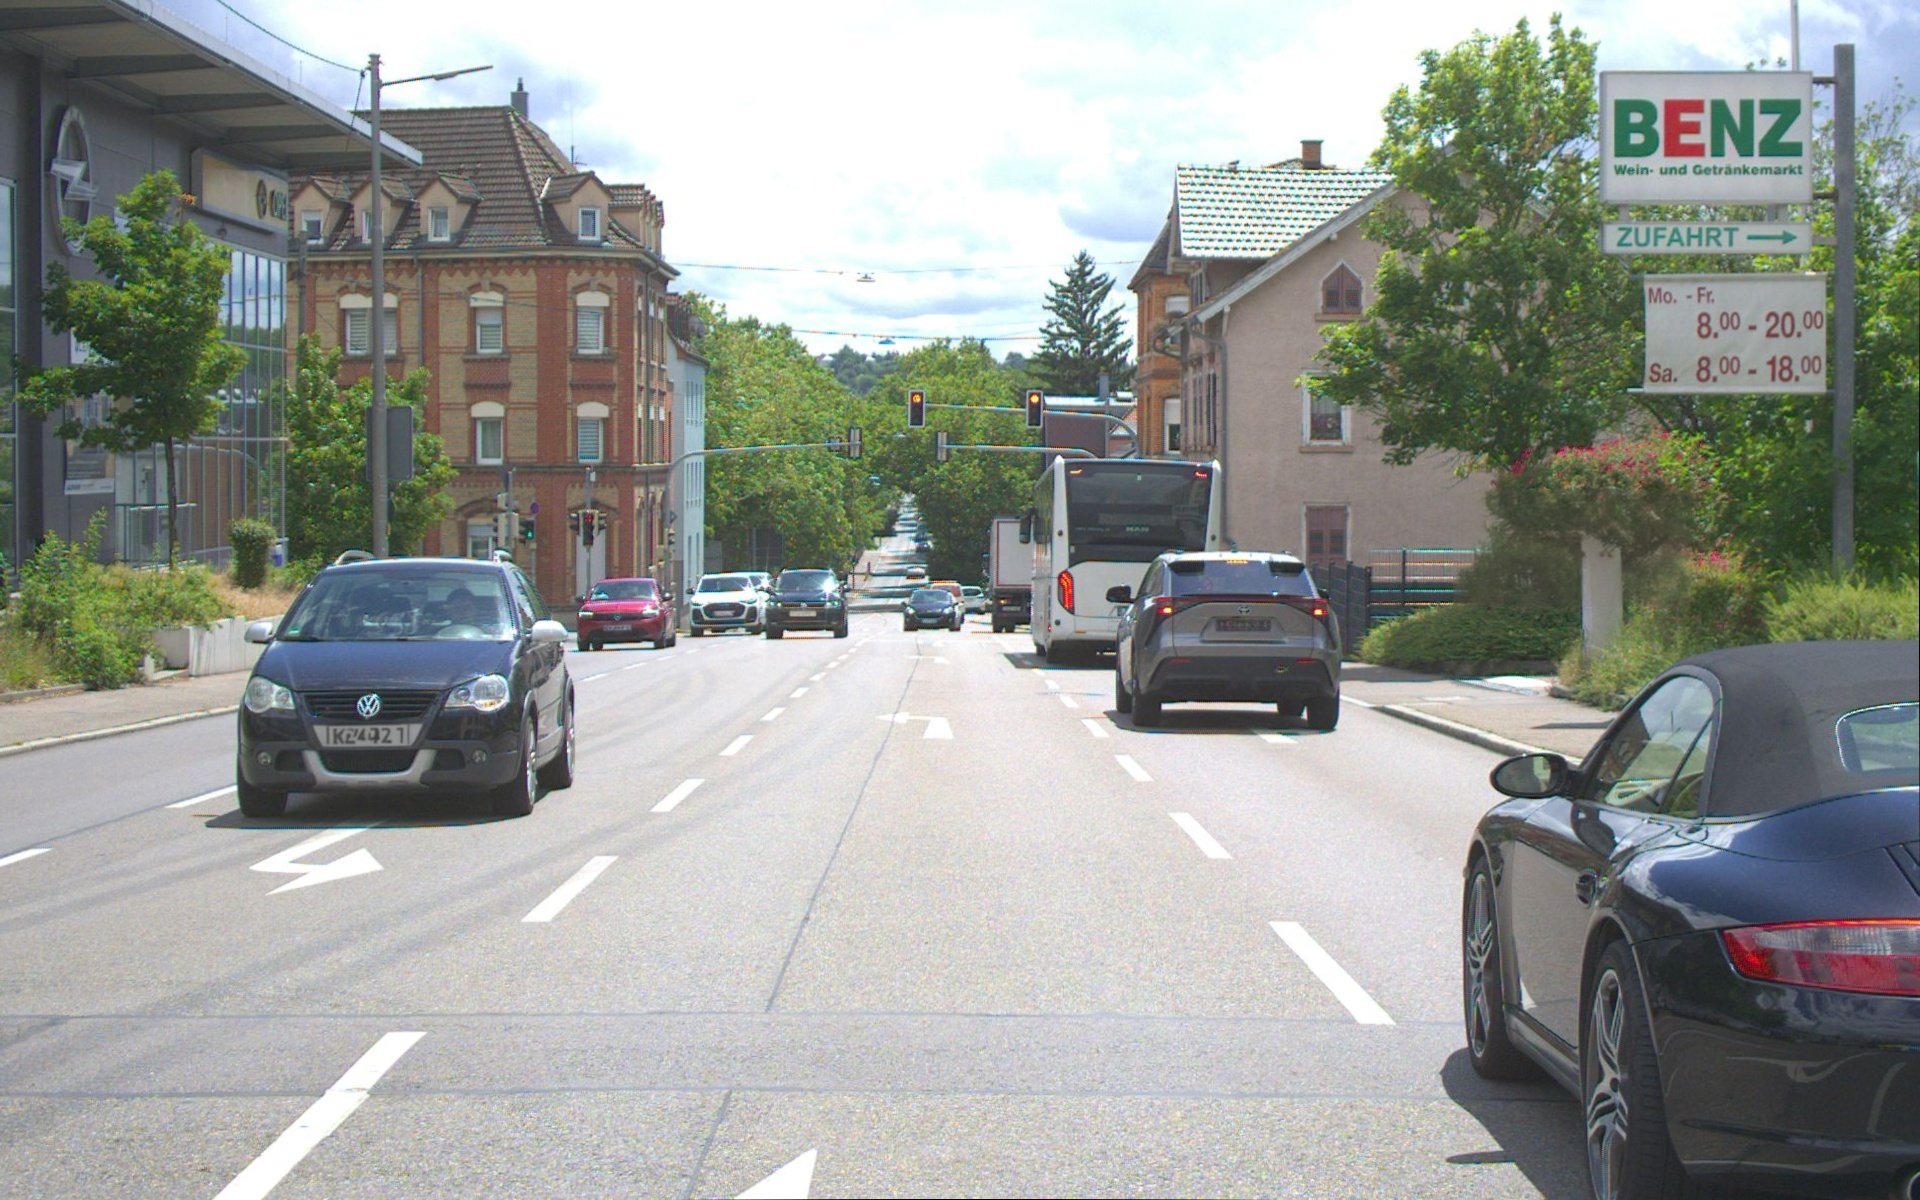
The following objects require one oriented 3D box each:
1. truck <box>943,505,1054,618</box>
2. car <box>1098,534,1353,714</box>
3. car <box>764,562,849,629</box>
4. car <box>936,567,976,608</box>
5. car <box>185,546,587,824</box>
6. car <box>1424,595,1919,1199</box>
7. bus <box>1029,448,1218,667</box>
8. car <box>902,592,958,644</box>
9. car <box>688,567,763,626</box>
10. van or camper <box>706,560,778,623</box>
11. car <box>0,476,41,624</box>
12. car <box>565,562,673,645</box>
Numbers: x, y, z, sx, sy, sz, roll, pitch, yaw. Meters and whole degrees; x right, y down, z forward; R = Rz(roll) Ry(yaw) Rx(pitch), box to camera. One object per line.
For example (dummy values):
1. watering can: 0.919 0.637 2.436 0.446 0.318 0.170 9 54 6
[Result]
1. truck: 1.037 -1.115 99.865 2.666 3.097 9.036 -1 1 -3
2. car: 2.416 0.215 32.307 1.930 1.577 4.208 0 0 -2
3. car: -3.593 -0.129 81.065 1.864 1.535 4.107 0 1 -1
4. car: -0.217 -0.625 167.262 1.832 1.875 4.001 0 2 -1
5. car: -3.370 0.430 20.949 1.829 1.504 4.277 -1 1 -2
6. car: 2.315 0.752 8.360 1.930 1.372 4.208 0 2 2
7. bus: 2.612 -0.909 57.417 2.802 3.186 12.197 0 3 2
8. car: -1.014 0.578 115.014 1.864 1.660 4.259 0 1 -1
9. car: -6.317 -0.116 92.876 1.864 1.535 4.107 0 1 -2
10. van or camper: -6.737 -0.277 106.745 1.970 1.908 5.129 0 1 -1
11. car: -12.612 -0.525 38.566 1.996 1.692 4.479 2 3 26
12. car: -6.717 0.050 68.039 1.871 1.486 3.849 -3 1 -2
